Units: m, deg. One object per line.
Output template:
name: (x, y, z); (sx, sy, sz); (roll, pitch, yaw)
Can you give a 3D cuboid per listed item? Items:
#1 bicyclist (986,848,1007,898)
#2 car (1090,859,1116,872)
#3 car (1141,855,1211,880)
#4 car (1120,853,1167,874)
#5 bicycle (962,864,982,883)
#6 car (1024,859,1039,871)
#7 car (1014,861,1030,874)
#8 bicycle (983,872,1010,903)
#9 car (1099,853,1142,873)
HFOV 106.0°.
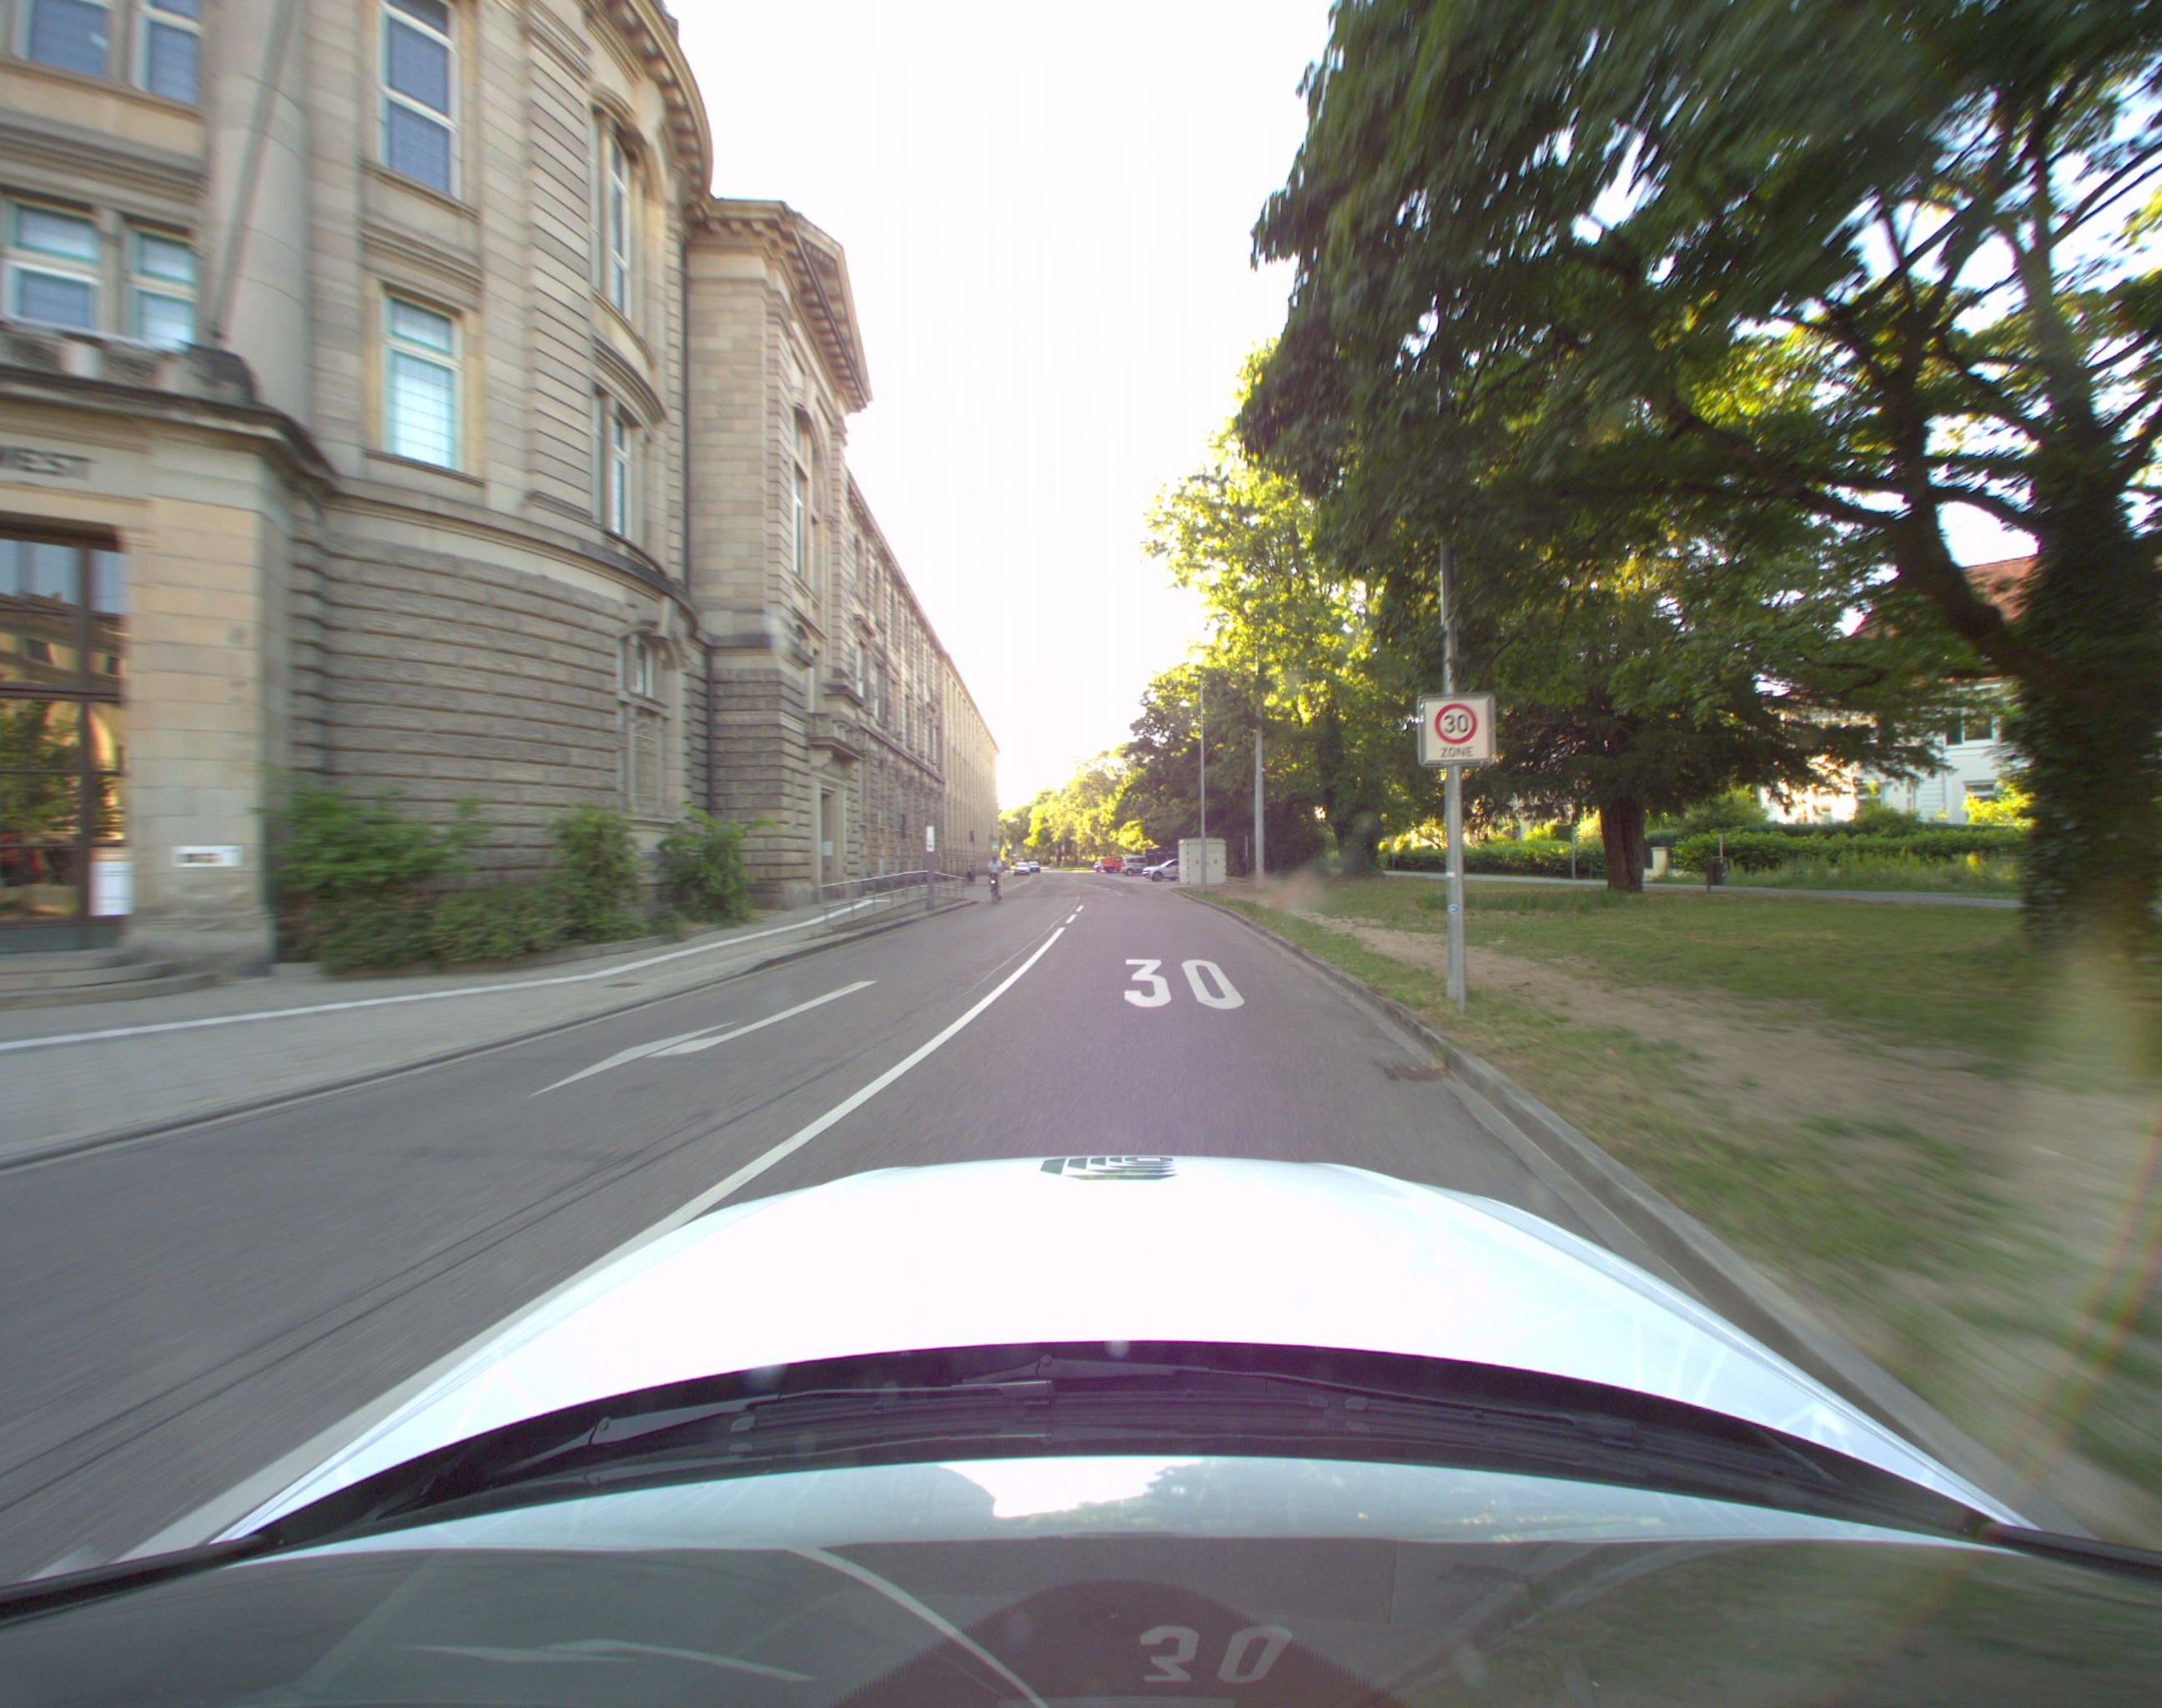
bicyclist: (-3.119, 0.694, 30.172); (0.642, 1.807, 0.781); (-1, -1, 2)
car: (2.862, 1.500, 106.436); (3.143, 1.503, 1.535); (-3, -1, -9)
car: (6.378, 0.899, 55.152); (4.431, 1.469, 1.780); (-2, -1, -4)
car: (5.928, 0.915, 77.227); (4.217, 1.860, 1.999); (-2, -1, -2)
bicycle: (-6.605, 1.144, 49.243); (0.849, 1.101, 1.983); (1, -1, 2)
car: (-6.717, 1.453, 109.890); (1.876, 1.466, 4.365); (-1, 0, -5)
car: (-6.769, 1.520, 92.613); (1.724, 1.397, 4.365); (-1, -1, -5)
bicycle: (-3.113, 1.211, 30.077); (0.660, 1.070, 2.154); (-1, -1, 2)
car: (4.647, 1.064, 96.499); (4.818, 2.013, 1.796); (-3, -1, -9)
